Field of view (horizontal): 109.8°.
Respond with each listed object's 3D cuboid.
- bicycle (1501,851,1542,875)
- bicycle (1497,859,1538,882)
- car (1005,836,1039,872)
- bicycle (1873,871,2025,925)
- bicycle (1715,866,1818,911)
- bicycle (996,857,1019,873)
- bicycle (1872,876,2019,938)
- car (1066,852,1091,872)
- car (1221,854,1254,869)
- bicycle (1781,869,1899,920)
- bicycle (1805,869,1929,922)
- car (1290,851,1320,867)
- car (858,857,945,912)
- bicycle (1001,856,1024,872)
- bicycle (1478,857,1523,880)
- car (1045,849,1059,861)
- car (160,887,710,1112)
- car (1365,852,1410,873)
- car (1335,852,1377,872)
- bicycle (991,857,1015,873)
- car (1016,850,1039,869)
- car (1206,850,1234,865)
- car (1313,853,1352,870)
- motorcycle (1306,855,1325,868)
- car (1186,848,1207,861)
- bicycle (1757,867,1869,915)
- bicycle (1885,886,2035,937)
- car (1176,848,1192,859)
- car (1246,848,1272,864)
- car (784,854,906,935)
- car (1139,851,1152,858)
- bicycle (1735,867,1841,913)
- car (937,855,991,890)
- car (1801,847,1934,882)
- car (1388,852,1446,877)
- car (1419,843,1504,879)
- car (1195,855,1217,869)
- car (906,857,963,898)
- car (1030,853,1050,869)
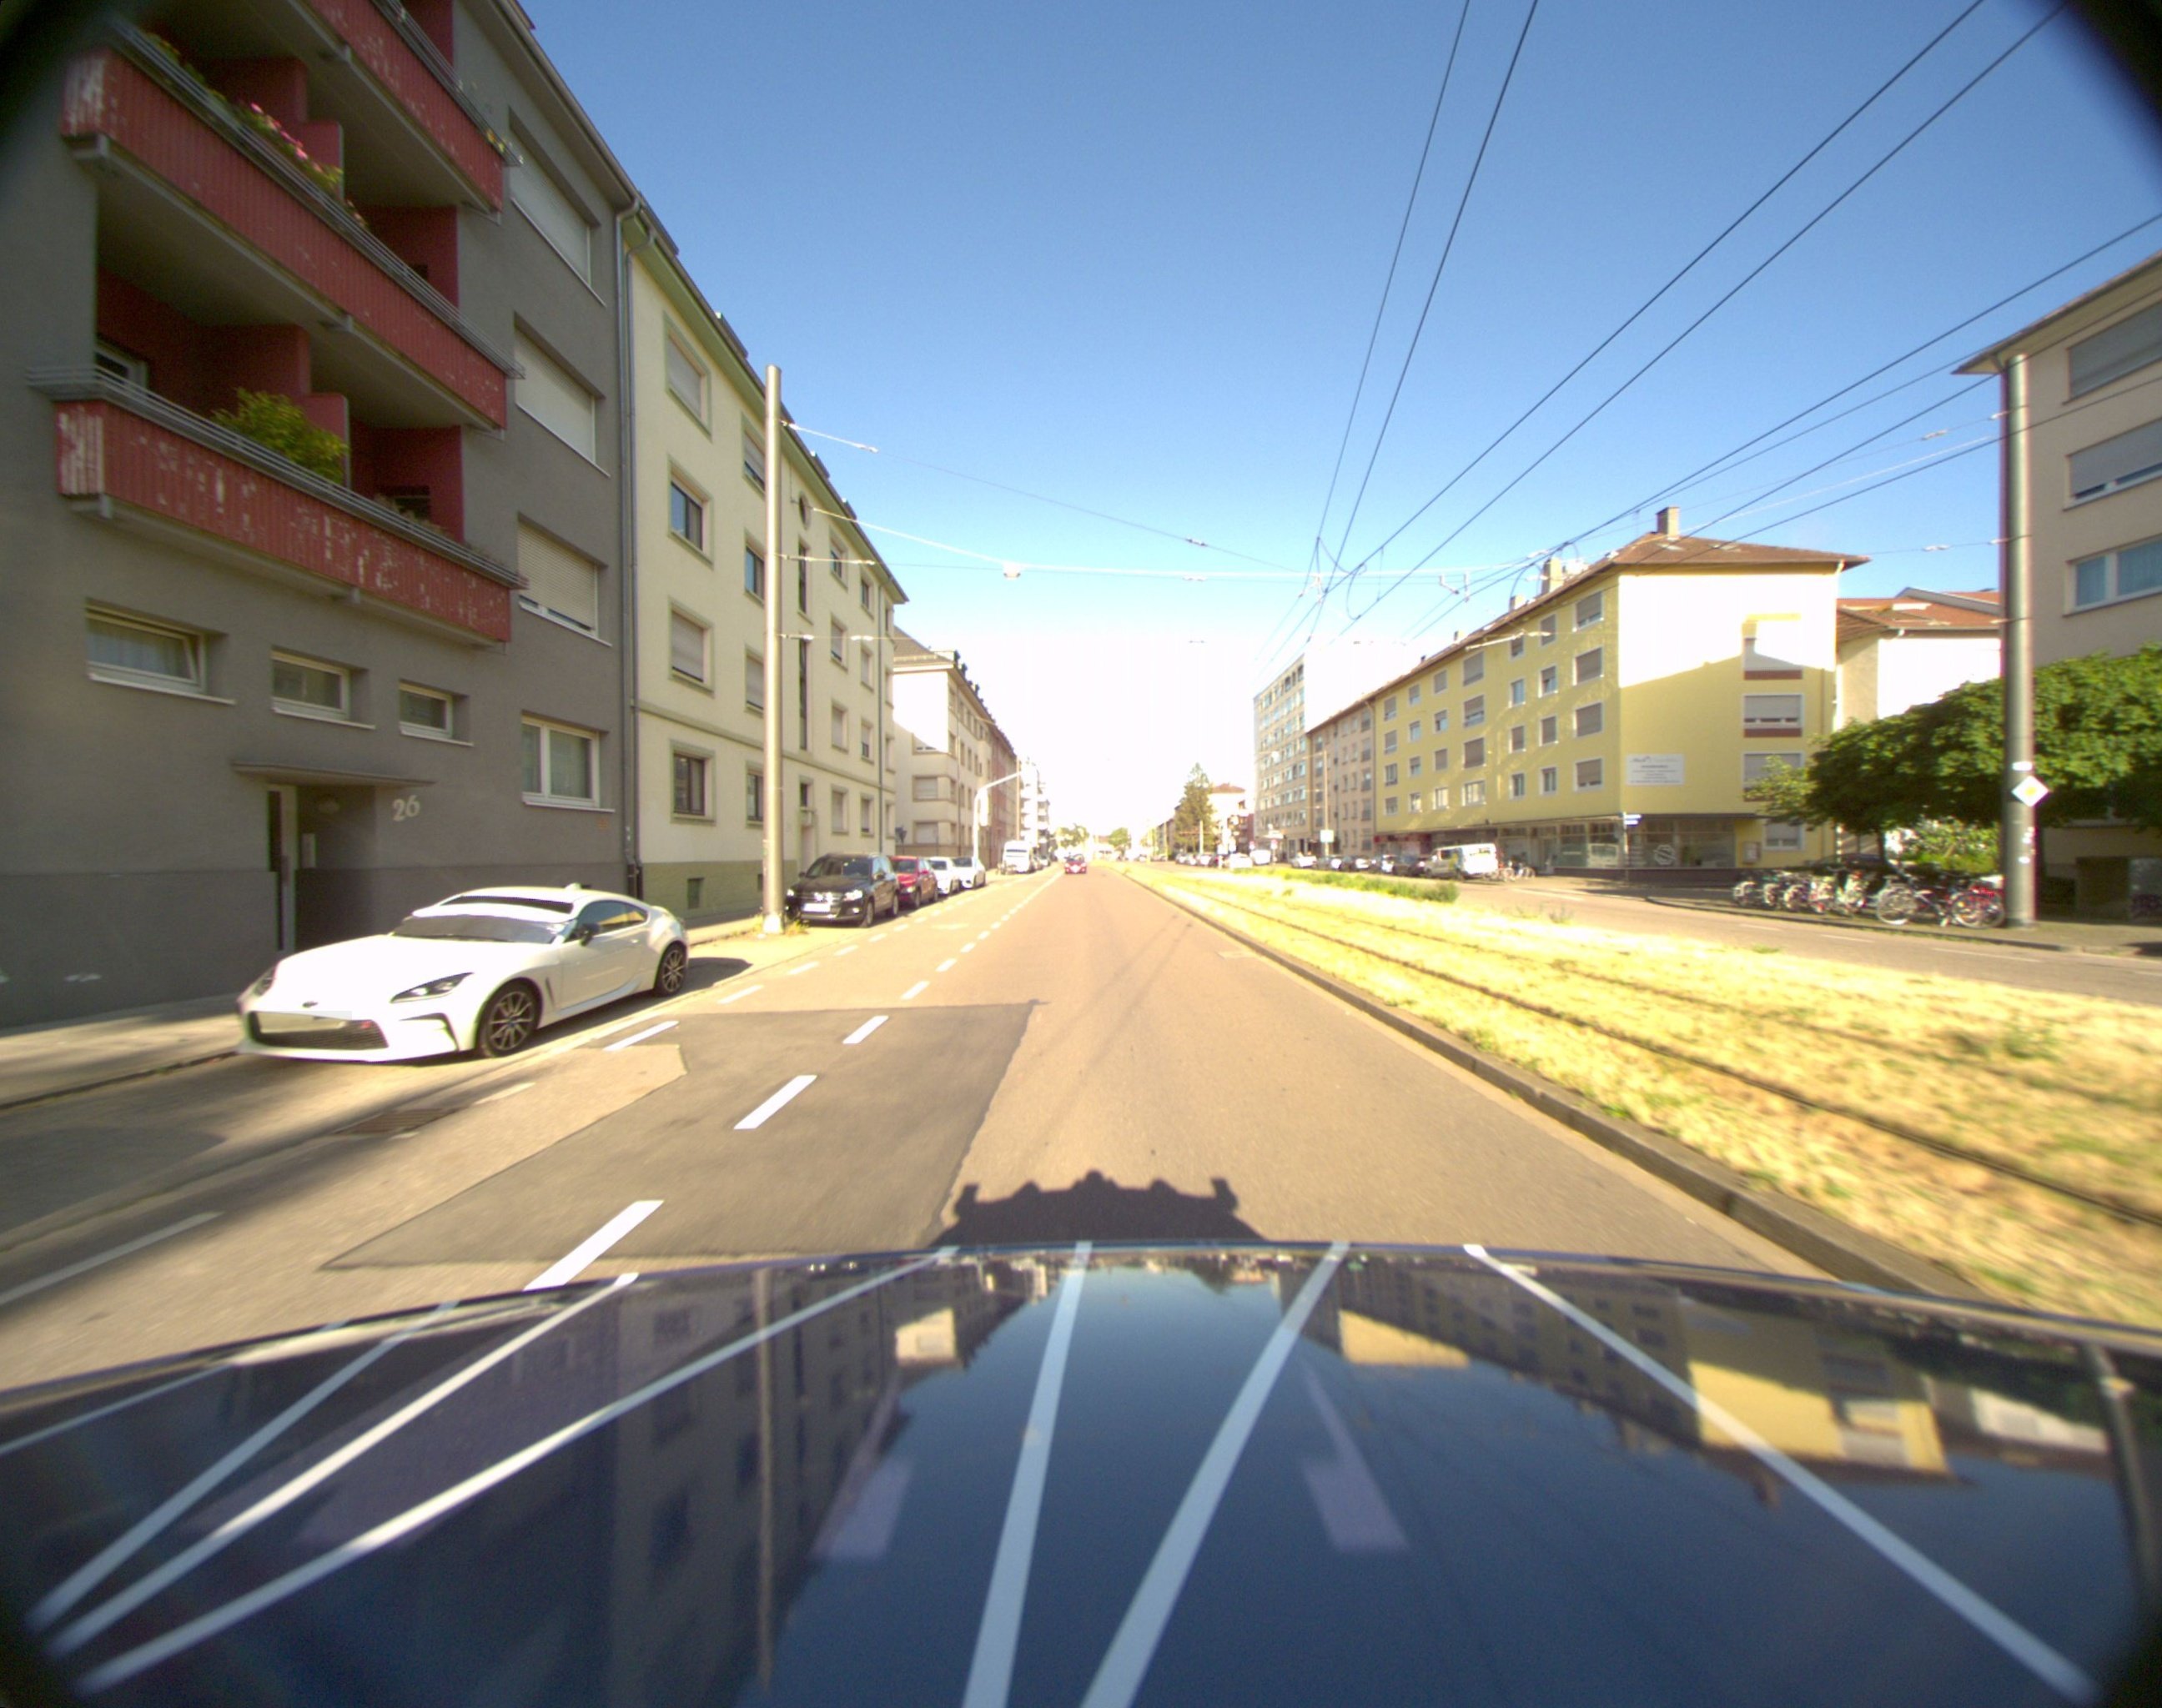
[{"bbox_3d":[22.591,0.454,38.952,1.824,1.099,0.390,-3,1,1],"label":"bicycle"},{"bbox_3d":[22.625,0.842,39.381,1.824,1.099,0.390,-3,1,1],"label":"bicycle"},{"bbox_3d":[-4.677,-0.008,61.027,2.156,2.680,6.291,1,1,0],"label":"car"},{"bbox_3d":[18.528,0.949,16.285,2.049,1.086,0.616,-3,1,27],"label":"bicycle"},{"bbox_3d":[18.462,0.924,20.498,2.052,1.086,0.616,-3,1,6],"label":"bicycle"},{"bbox_3d":[-5.326,0.812,55.201,1.912,1.081,0.474,2,5,43],"label":"bicycle"},{"bbox_3d":[17.263,1.023,15.244,0.511,1.086,1.934,-3,1,-11],"label":"bicycle"},{"bbox_3d":[-0.173,0.572,57.792,1.862,1.461,3.808,0,0,1],"label":"car"},{"bbox_3d":[15.052,0.665,73.314,1.839,1.377,4.413,0,0,-6],"label":"car"},{"bbox_3d":[18.286,0.964,18.333,2.052,1.086,0.616,-3,1,6],"label":"bicycle"},{"bbox_3d":[18.236,0.956,17.657,2.052,1.086,0.616,-3,1,6],"label":"bicycle"},{"bbox_3d":[22.427,0.466,76.146,1.763,1.477,4.199,-3,0,0],"label":"car"},{"bbox_3d":[-5.452,0.865,23.544,1.639,1.508,4.188,0,0,1],"label":"car"},{"bbox_3d":[-5.069,0.762,56.095,0.487,1.081,2.023,-4,1,-42],"label":"bicycle"},{"bbox_3d":[22.599,0.765,40.920,2.103,1.099,0.472,-3,1,1],"label":"bicycle"},{"bbox_3d":[-3.737,0.128,99.425,1.763,1.543,2.649,1,0,-2],"label":"car"},{"bbox_3d":[-5.556,1.114,7.455,1.706,1.268,4.302,3,1,0],"label":"car"},{"bbox_3d":[22.678,0.612,56.362,1.787,1.377,3.768,-3,0,0],"label":"car"},{"bbox_3d":[22.447,0.624,62.094,1.787,1.412,4.414,-3,0,0],"label":"car"},{"bbox_3d":[-5.566,0.790,54.138,1.912,1.080,0.475,2,0,44],"label":"bicycle"},{"bbox_3d":[-4.772,0.500,68.363,1.852,1.628,4.574,0,0,-2],"label":"car"},{"bbox_3d":[14.605,0.358,79.798,1.788,1.519,4.413,0,0,-5],"label":"car"},{"bbox_3d":[22.363,0.624,67.692,1.788,1.377,4.414,-3,0,-2],"label":"car"},{"bbox_3d":[22.253,0.719,72.065,2.115,1.132,0.486,-3,1,-33],"label":"motorcycle"},{"bbox_3d":[14.314,0.082,94.206,1.862,1.541,4.239,2,0,-2],"label":"car"},{"bbox_3d":[18.369,0.923,19.105,2.052,1.086,0.616,-3,1,6],"label":"bicycle"},{"bbox_3d":[17.729,1.130,15.400,0.377,0.861,2.052,-3,1,-11],"label":"bicycle"},{"bbox_3d":[14.583,-0.101,107.524,1.617,1.550,3.999,1,0,0],"label":"car"},{"bbox_3d":[23.014,0.264,98.299,1.999,1.887,4.669,-3,0,-2],"label":"car"},{"bbox_3d":[-5.447,0.848,18.110,1.640,1.638,4.373,2,0,-2],"label":"car"},{"bbox_3d":[15.581,0.135,183.758,1.718,1.379,3.720,-3,1,31],"label":"car"},{"bbox_3d":[18.402,0.931,19.807,2.052,1.086,0.616,-3,1,6],"label":"bicycle"},{"bbox_3d":[-5.221,0.783,34.338,1.698,1.450,4.379,0,0,1],"label":"car"},{"bbox_3d":[34.010,0.454,32.915,3.998,1.405,1.772,1,0,-2],"label":"car"},{"bbox_3d":[22.448,0.686,50.968,1.787,1.465,4.595,-3,0,0],"label":"car"},{"bbox_3d":[22.529,0.376,45.265,1.999,1.938,5.499,-3,0,-3],"label":"car"},{"bbox_3d":[14.302,0.884,87.140,1.787,1.572,4.607,0,0,0],"label":"car"},{"bbox_3d":[-5.579,0.844,29.343,1.640,1.450,4.080,0,0,-3],"label":"car"},{"bbox_3d":[-4.072,0.672,76.524,1.625,1.452,4.055,2,0,2],"label":"car"}]
